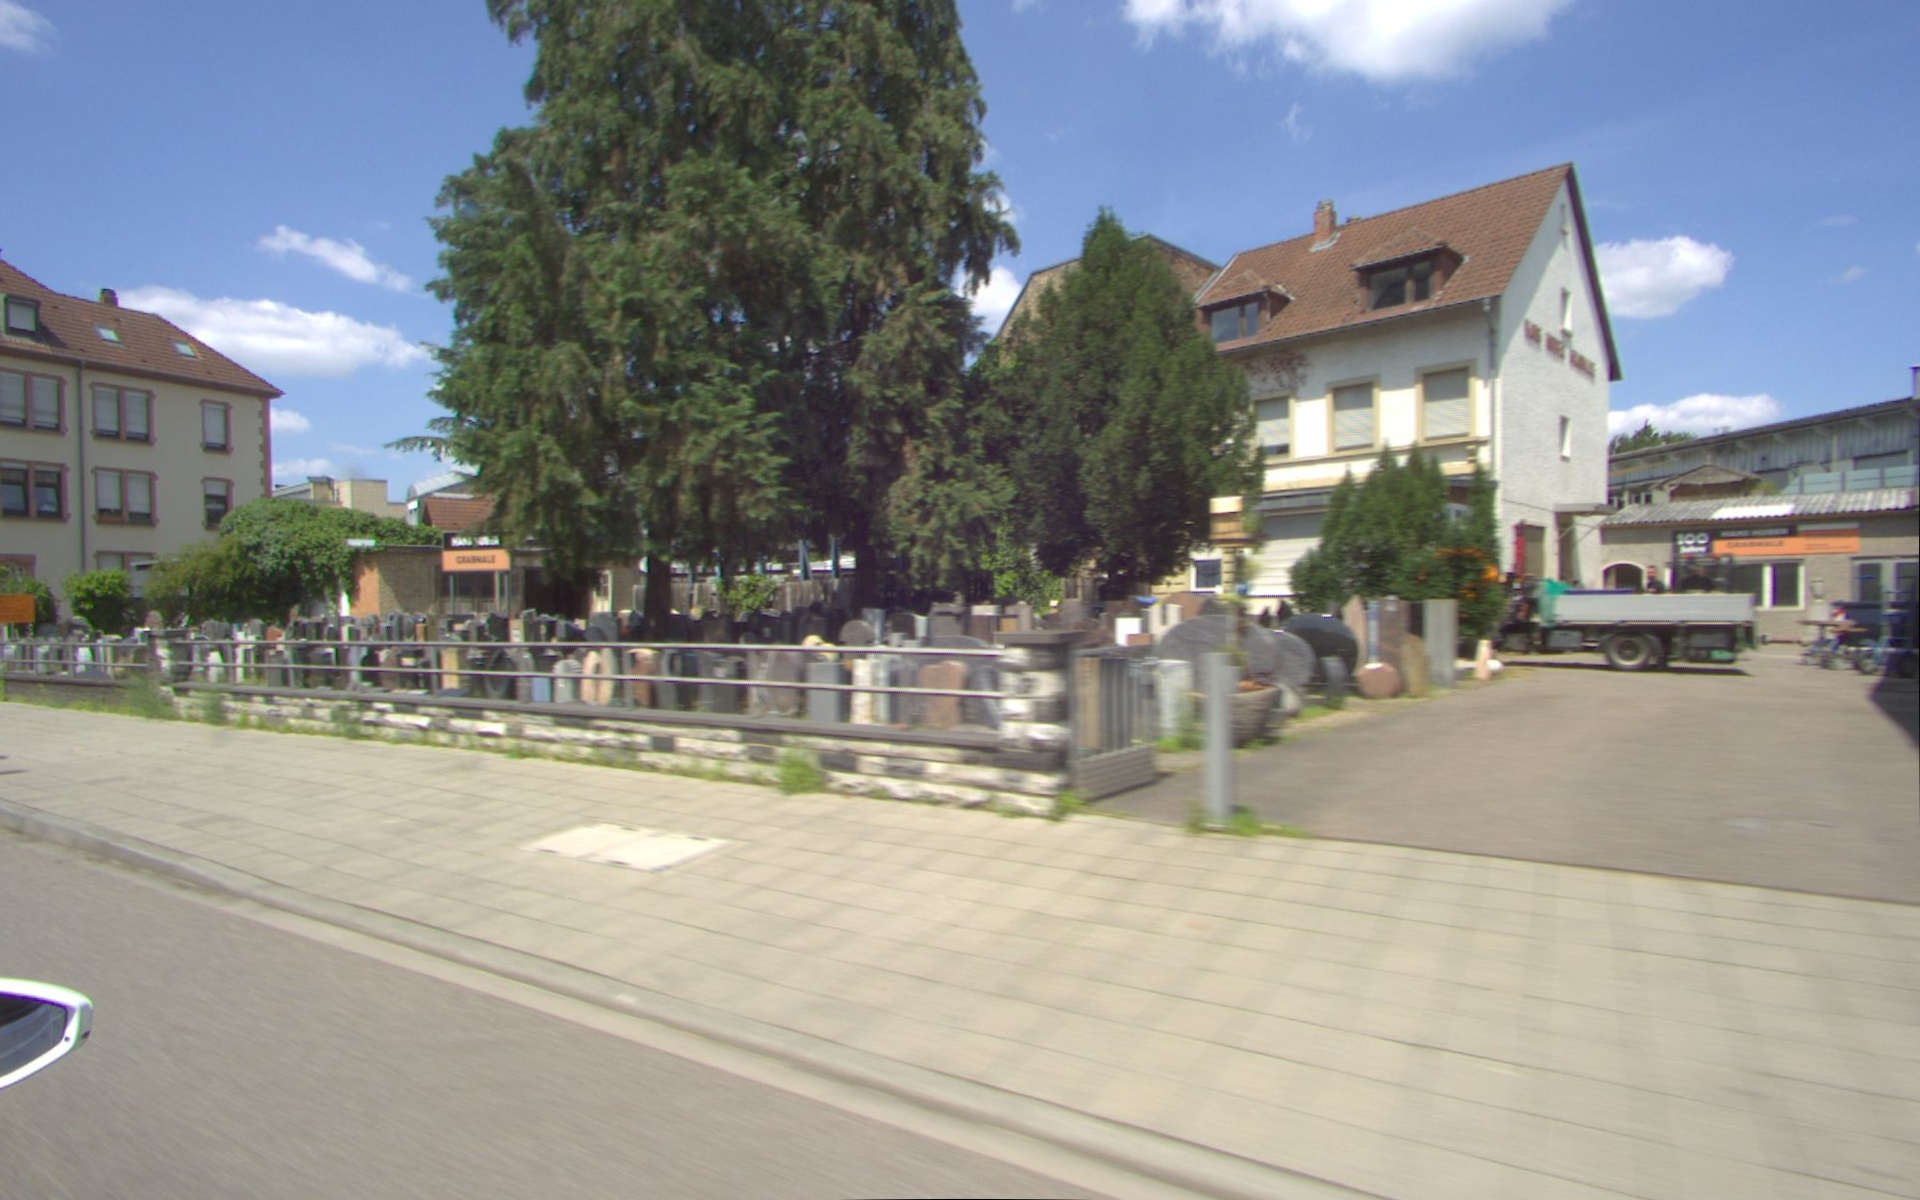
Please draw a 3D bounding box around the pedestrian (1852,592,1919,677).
[{"bbox_3d":[14.682,0.540,15.854,0.707,1.307,0.642,-1,1,32],"label":"pedestrian"}]

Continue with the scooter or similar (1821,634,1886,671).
[{"bbox_3d":[15.279,0.887,17.137,0.744,0.596,0.488,-2,1,32],"label":"scooter or similar"}]

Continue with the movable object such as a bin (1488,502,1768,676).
[{"bbox_3d":[11.237,-0.139,17.073,3.756,2.654,1.735,-2,1,34],"label":"movable object such as a bin"}]

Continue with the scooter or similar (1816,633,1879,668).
[{"bbox_3d":[15.578,0.886,17.589,0.744,0.582,0.488,-2,1,32],"label":"scooter or similar"}]
